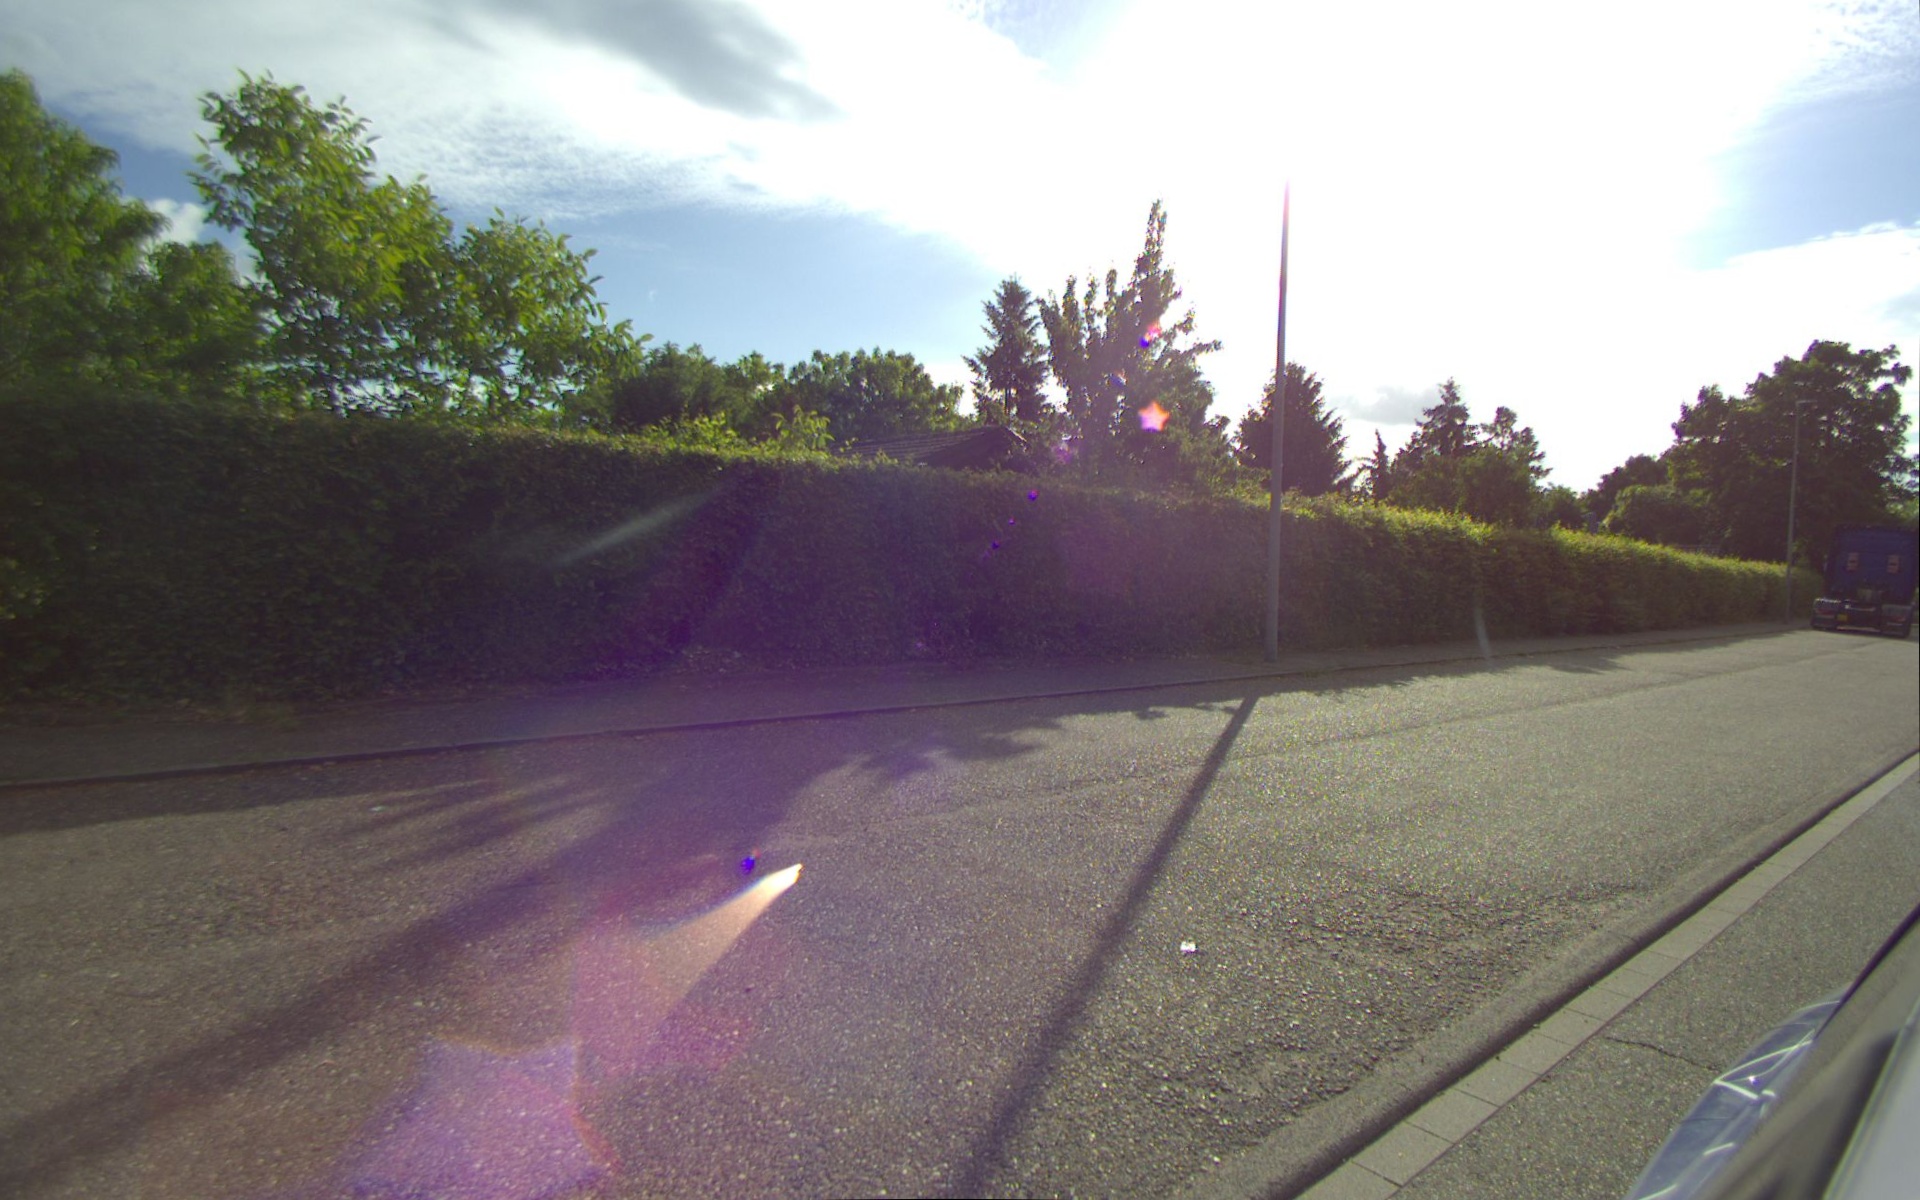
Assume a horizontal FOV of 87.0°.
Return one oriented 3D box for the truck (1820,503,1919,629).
[{"bbox_3d":[33.255,-1.195,36.394,6.181,4.003,2.600,0,7,-45],"label":"truck"}]
